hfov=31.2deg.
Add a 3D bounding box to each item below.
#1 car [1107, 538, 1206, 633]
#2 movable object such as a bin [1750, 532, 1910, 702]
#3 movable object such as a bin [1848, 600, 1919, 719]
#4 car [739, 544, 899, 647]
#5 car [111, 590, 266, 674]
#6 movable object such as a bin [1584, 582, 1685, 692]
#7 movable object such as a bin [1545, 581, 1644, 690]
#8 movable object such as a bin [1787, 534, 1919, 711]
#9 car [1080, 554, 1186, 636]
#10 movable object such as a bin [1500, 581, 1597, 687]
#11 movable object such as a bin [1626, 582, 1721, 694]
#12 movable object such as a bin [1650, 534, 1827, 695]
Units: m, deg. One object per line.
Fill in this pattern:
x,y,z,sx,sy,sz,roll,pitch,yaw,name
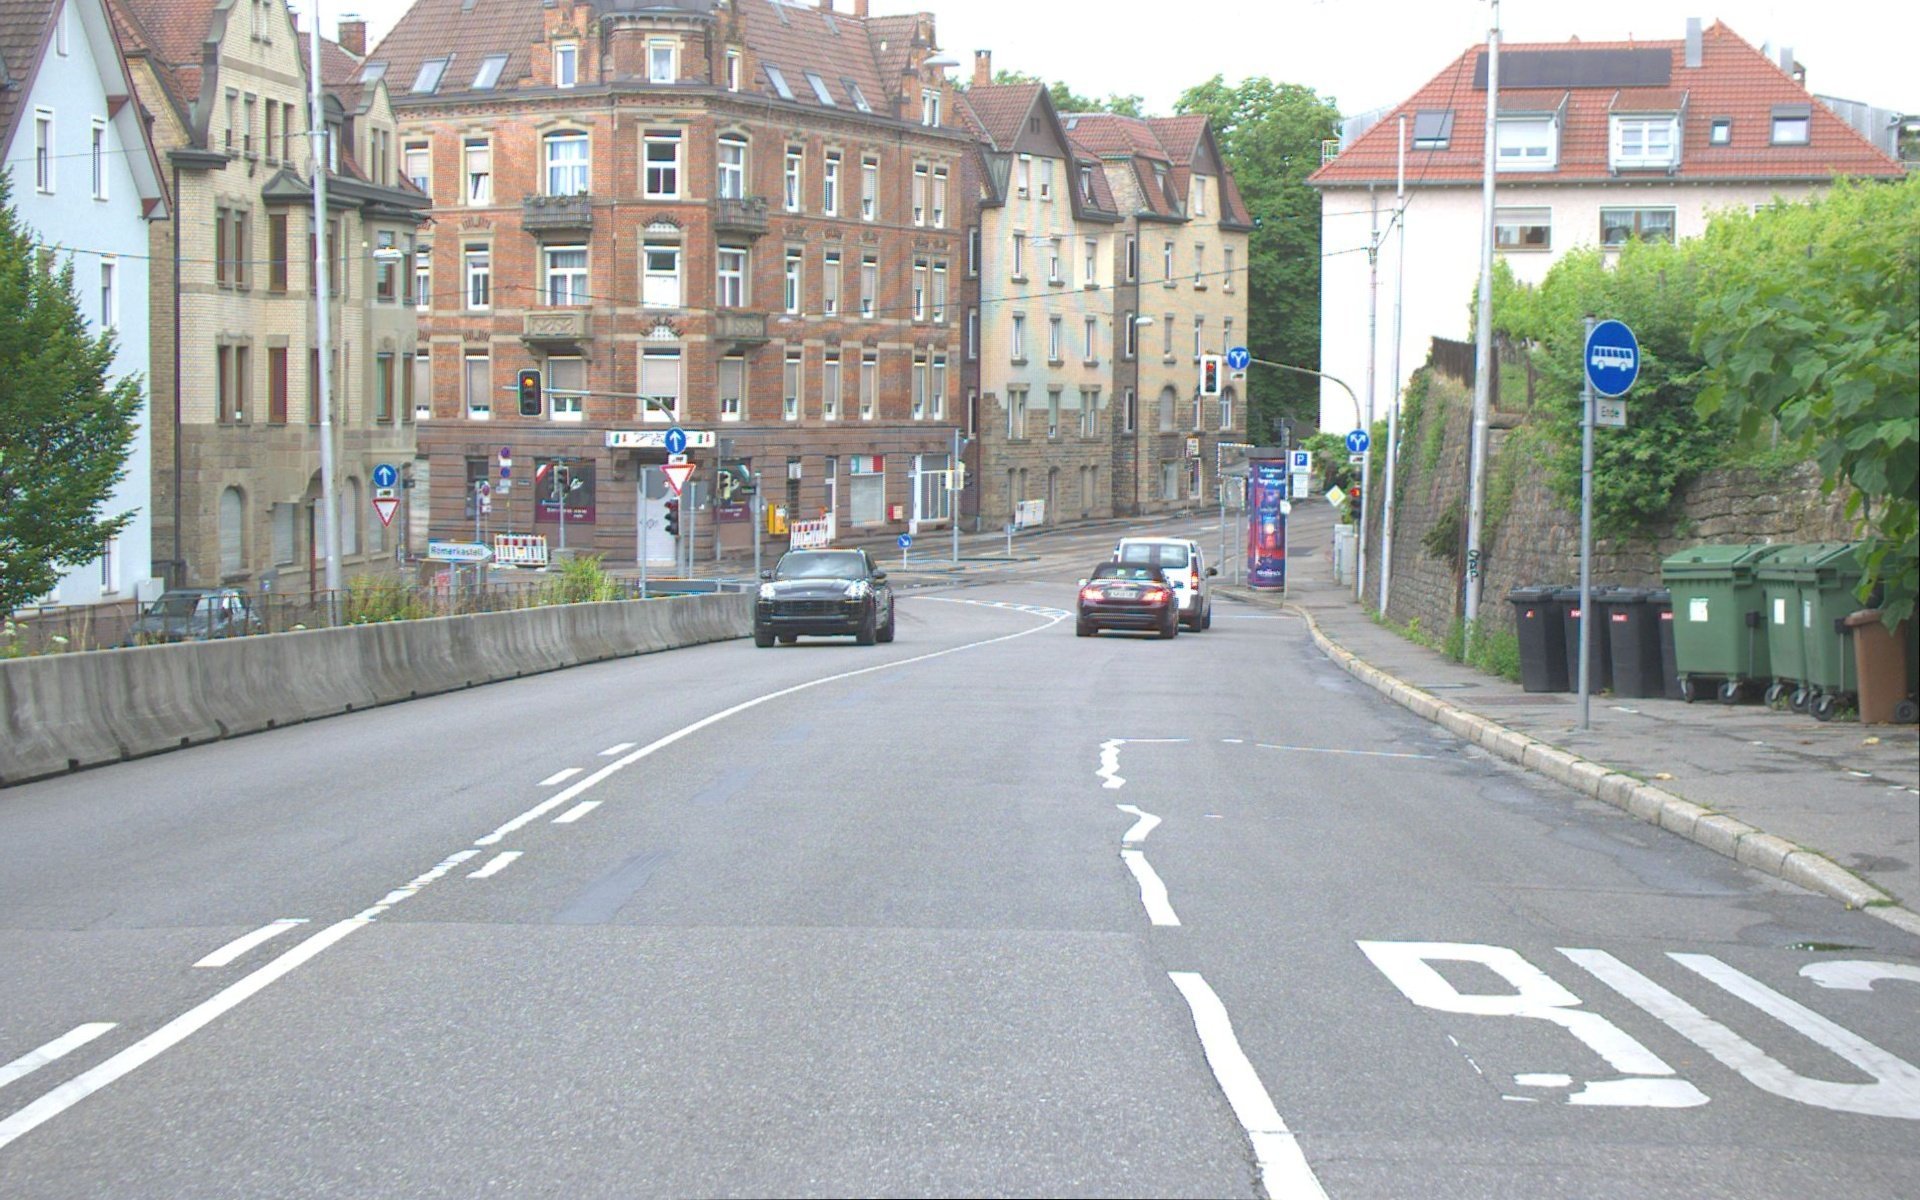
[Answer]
4.100,-0.309,71.136,1.909,1.877,3.999,2,1,5,car
7.549,0.143,29.883,1.047,1.440,1.205,0,0,-2,movable object such as a bin
7.472,0.471,27.460,0.594,0.939,0.640,0,0,1,movable object such as a bin
-2.275,-0.102,56.799,1.982,1.569,4.374,-2,1,6,car
-15.837,0.640,70.752,1.795,1.505,3.999,-1,2,8,car
6.510,0.352,33.194,0.742,1.055,0.679,0,0,-15,movable object such as a bin
6.264,0.344,33.946,0.742,1.055,0.679,0,0,-15,movable object such as a bin
7.508,0.179,28.477,1.047,1.440,1.205,0,0,1,movable object such as a bin
3.261,-0.116,64.115,1.817,1.425,3.999,2,1,5,car
5.918,0.338,34.587,0.742,1.055,0.679,0,0,-15,movable object such as a bin
6.756,0.357,32.570,0.709,1.055,0.547,0,0,-15,movable object such as a bin
7.141,0.128,31.608,1.047,1.440,1.419,0,0,-15,movable object such as a bin
